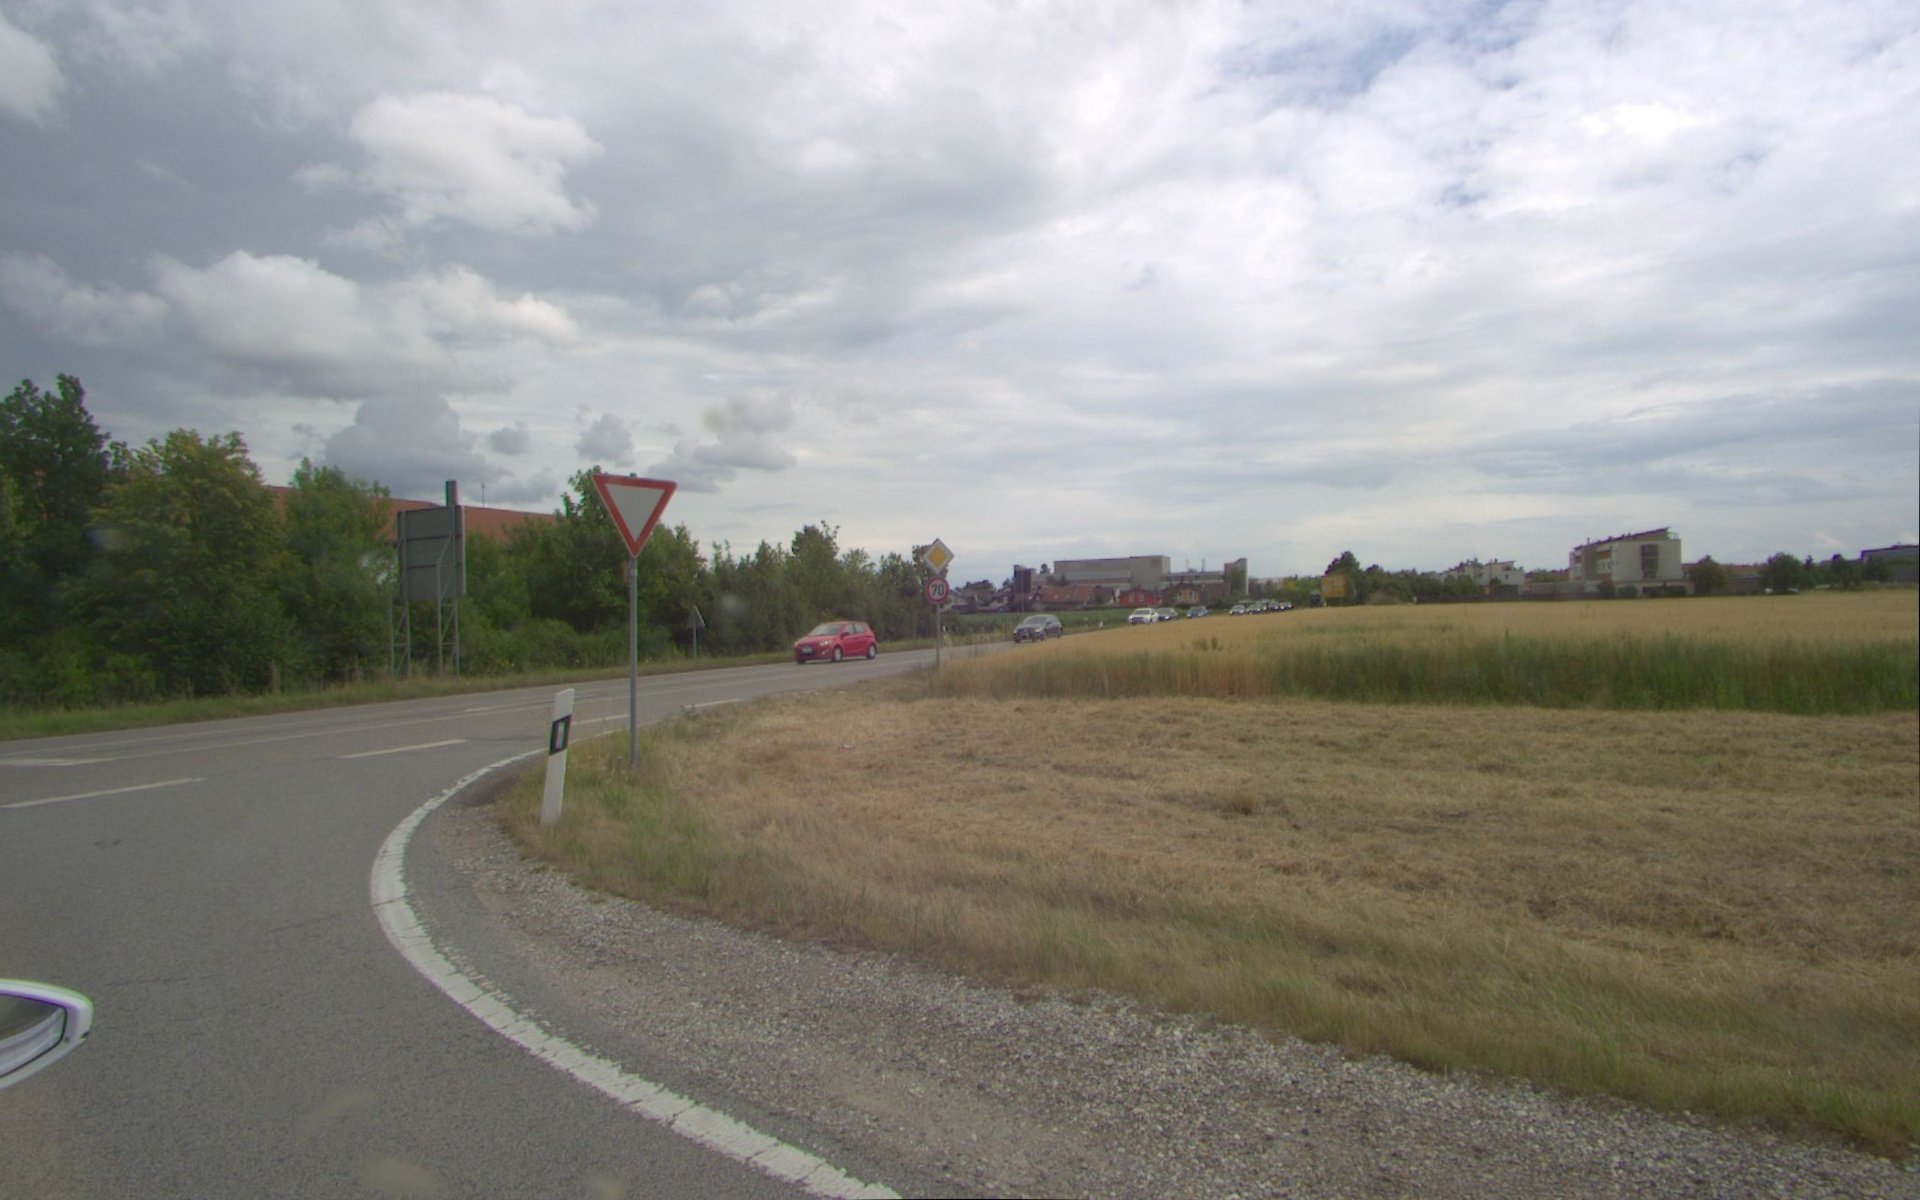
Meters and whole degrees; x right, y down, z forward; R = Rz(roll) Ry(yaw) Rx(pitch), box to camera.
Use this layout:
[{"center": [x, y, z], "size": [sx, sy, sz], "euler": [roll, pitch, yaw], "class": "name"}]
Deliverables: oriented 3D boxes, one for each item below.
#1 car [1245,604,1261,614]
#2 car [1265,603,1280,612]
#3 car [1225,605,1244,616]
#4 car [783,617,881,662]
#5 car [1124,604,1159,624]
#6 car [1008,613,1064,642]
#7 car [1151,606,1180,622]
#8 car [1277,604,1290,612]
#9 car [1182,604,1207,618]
[{"center": [40.851, 1.264, 139.539], "size": [1.825, 1.287, 3.519], "euler": [-1, 0, 23], "class": "car"}, {"center": [48.716, 1.124, 156.146], "size": [1.825, 1.287, 3.519], "euler": [-1, 0, 23], "class": "car"}, {"center": [34.003, 1.275, 124.036], "size": [1.825, 1.287, 3.519], "euler": [-1, 0, 23], "class": "car"}, {"center": [-4.708, 1.441, 37.383], "size": [1.826, 1.486, 3.987], "euler": [-1, 0, 24], "class": "car"}, {"center": [14.274, 1.104, 78.514], "size": [1.825, 1.486, 3.988], "euler": [-1, 0, 23], "class": "car"}, {"center": [4.209, 1.481, 54.888], "size": [1.826, 1.486, 3.987], "euler": [-1, 0, 24], "class": "car"}, {"center": [18.058, 1.246, 87.950], "size": [1.825, 1.287, 3.519], "euler": [-1, 0, 23], "class": "car"}, {"center": [56.239, 1.325, 173.892], "size": [1.825, 1.287, 3.519], "euler": [-1, 0, 23], "class": "car"}, {"center": [23.312, 1.125, 99.401], "size": [1.825, 1.287, 3.519], "euler": [-1, 0, 23], "class": "car"}]
